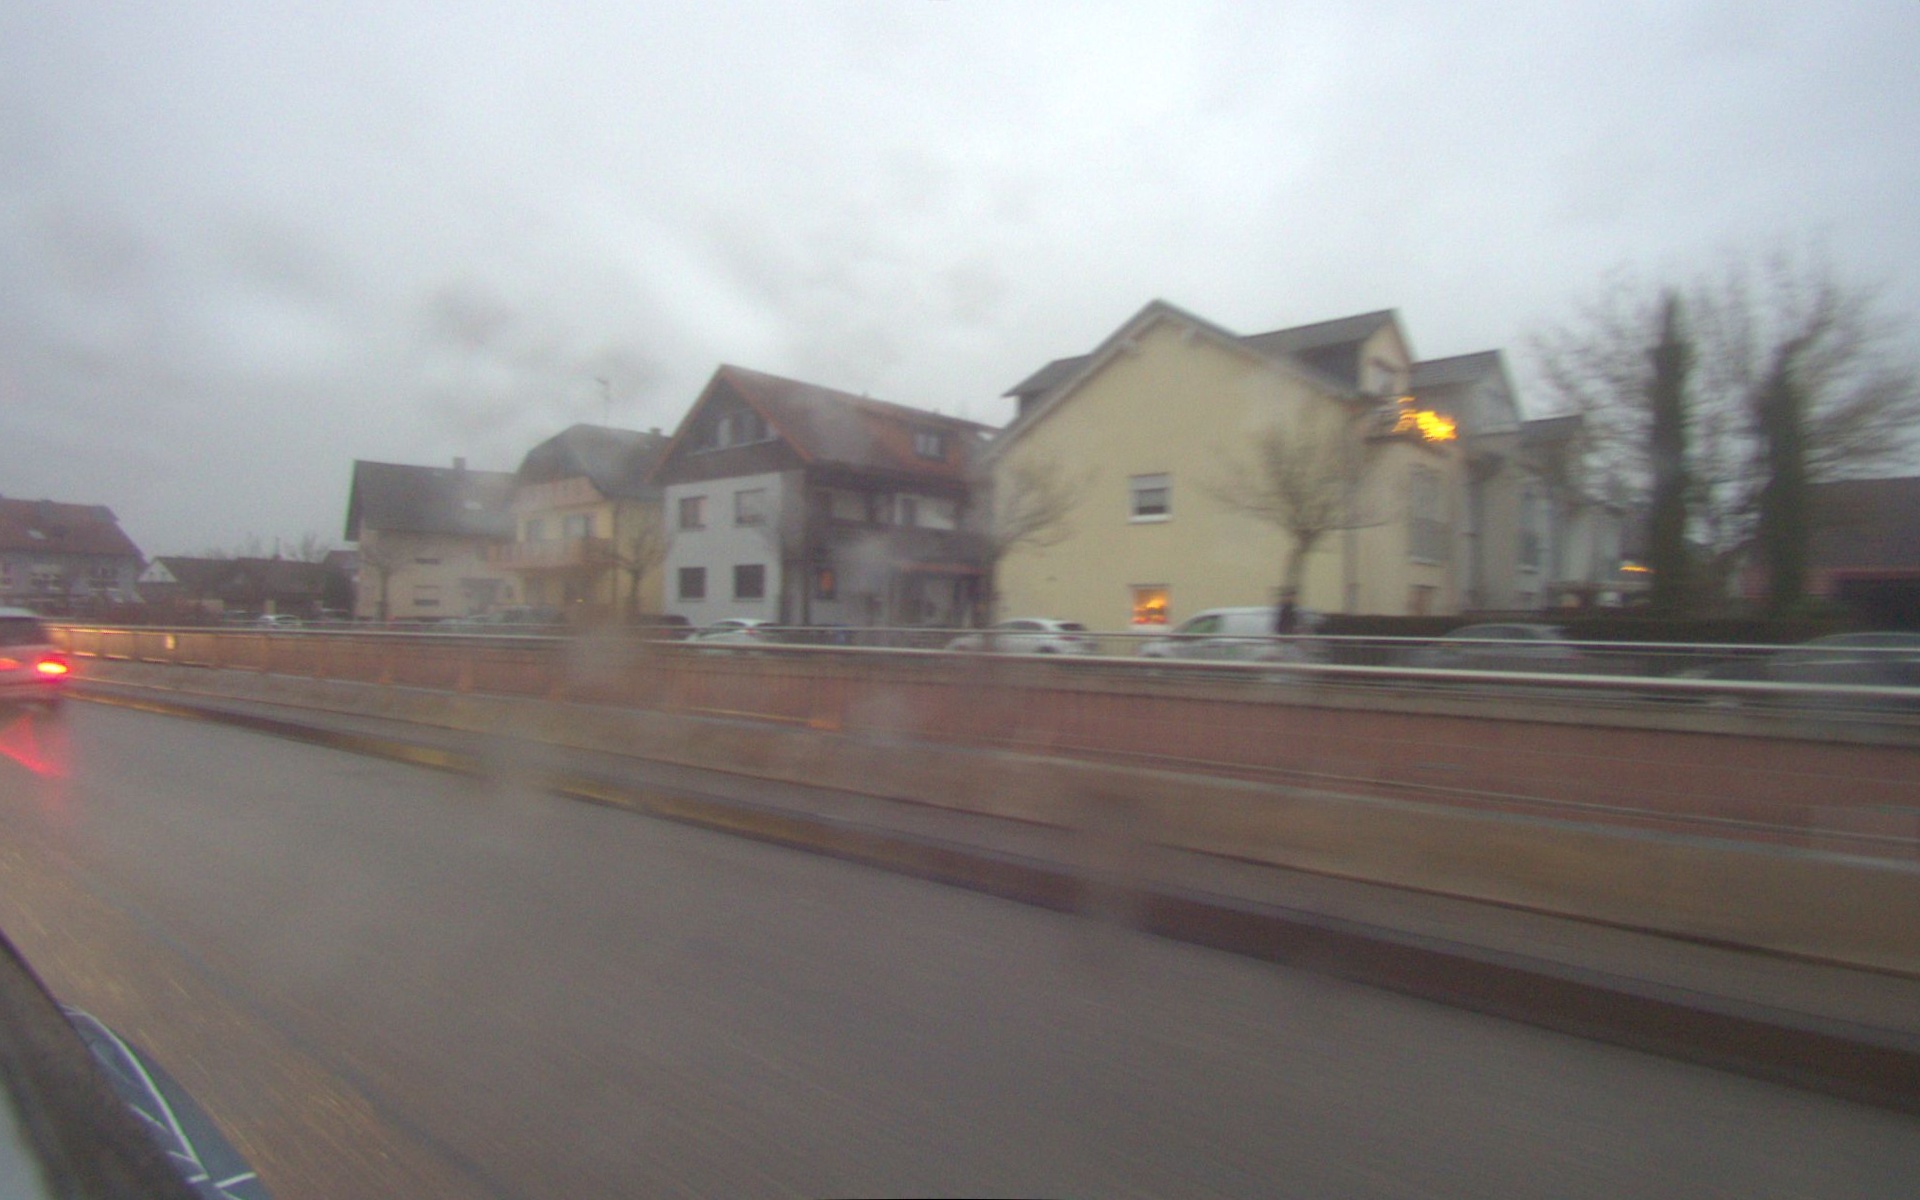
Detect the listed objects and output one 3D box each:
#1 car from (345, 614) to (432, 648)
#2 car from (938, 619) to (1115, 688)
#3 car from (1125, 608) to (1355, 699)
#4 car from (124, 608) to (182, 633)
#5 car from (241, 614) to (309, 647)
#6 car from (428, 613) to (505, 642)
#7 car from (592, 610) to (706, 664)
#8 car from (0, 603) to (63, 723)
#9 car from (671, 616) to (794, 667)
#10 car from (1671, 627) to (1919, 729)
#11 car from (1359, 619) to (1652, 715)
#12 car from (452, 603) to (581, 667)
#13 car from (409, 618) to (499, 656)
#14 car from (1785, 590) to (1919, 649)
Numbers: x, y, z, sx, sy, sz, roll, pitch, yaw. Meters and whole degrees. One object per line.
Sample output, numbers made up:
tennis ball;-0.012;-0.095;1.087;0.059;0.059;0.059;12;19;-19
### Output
car;-26.211;1.374;46.362;4.642;1.453;1.858;-1;-1;39
car;1.650;1.341;25.844;4.220;1.611;1.855;-2;-4;39
car;6.038;1.143;22.138;4.496;1.792;1.855;-2;-4;39
car;-51.753;1.307;64.887;3.821;1.425;1.664;0;2;32
car;-37.056;1.628;54.732;3.978;1.636;1.800;-1;1;37
car;-30.256;1.664;62.083;3.974;1.535;1.818;-2;1;-36
car;-10.885;1.242;35.335;3.994;1.694;1.841;-1;1;37
car;-14.735;0.893;14.900;3.545;1.648;1.647;-1;-1;37
car;-7.448;1.320;33.031;4.025;1.535;1.752;0;-1;38
car;13.730;1.167;15.490;4.498;1.444;1.854;-2;-4;41
car;10.050;1.197;18.857;4.498;1.584;1.854;-2;-4;41
car;-13.443;1.018;30.624;3.851;1.817;1.784;0;-1;34
car;-21.652;1.528;43.259;4.137;1.517;1.859;-1;-1;37
car;32.505;0.655;36.669;3.996;2.029;1.974;0;1;39
